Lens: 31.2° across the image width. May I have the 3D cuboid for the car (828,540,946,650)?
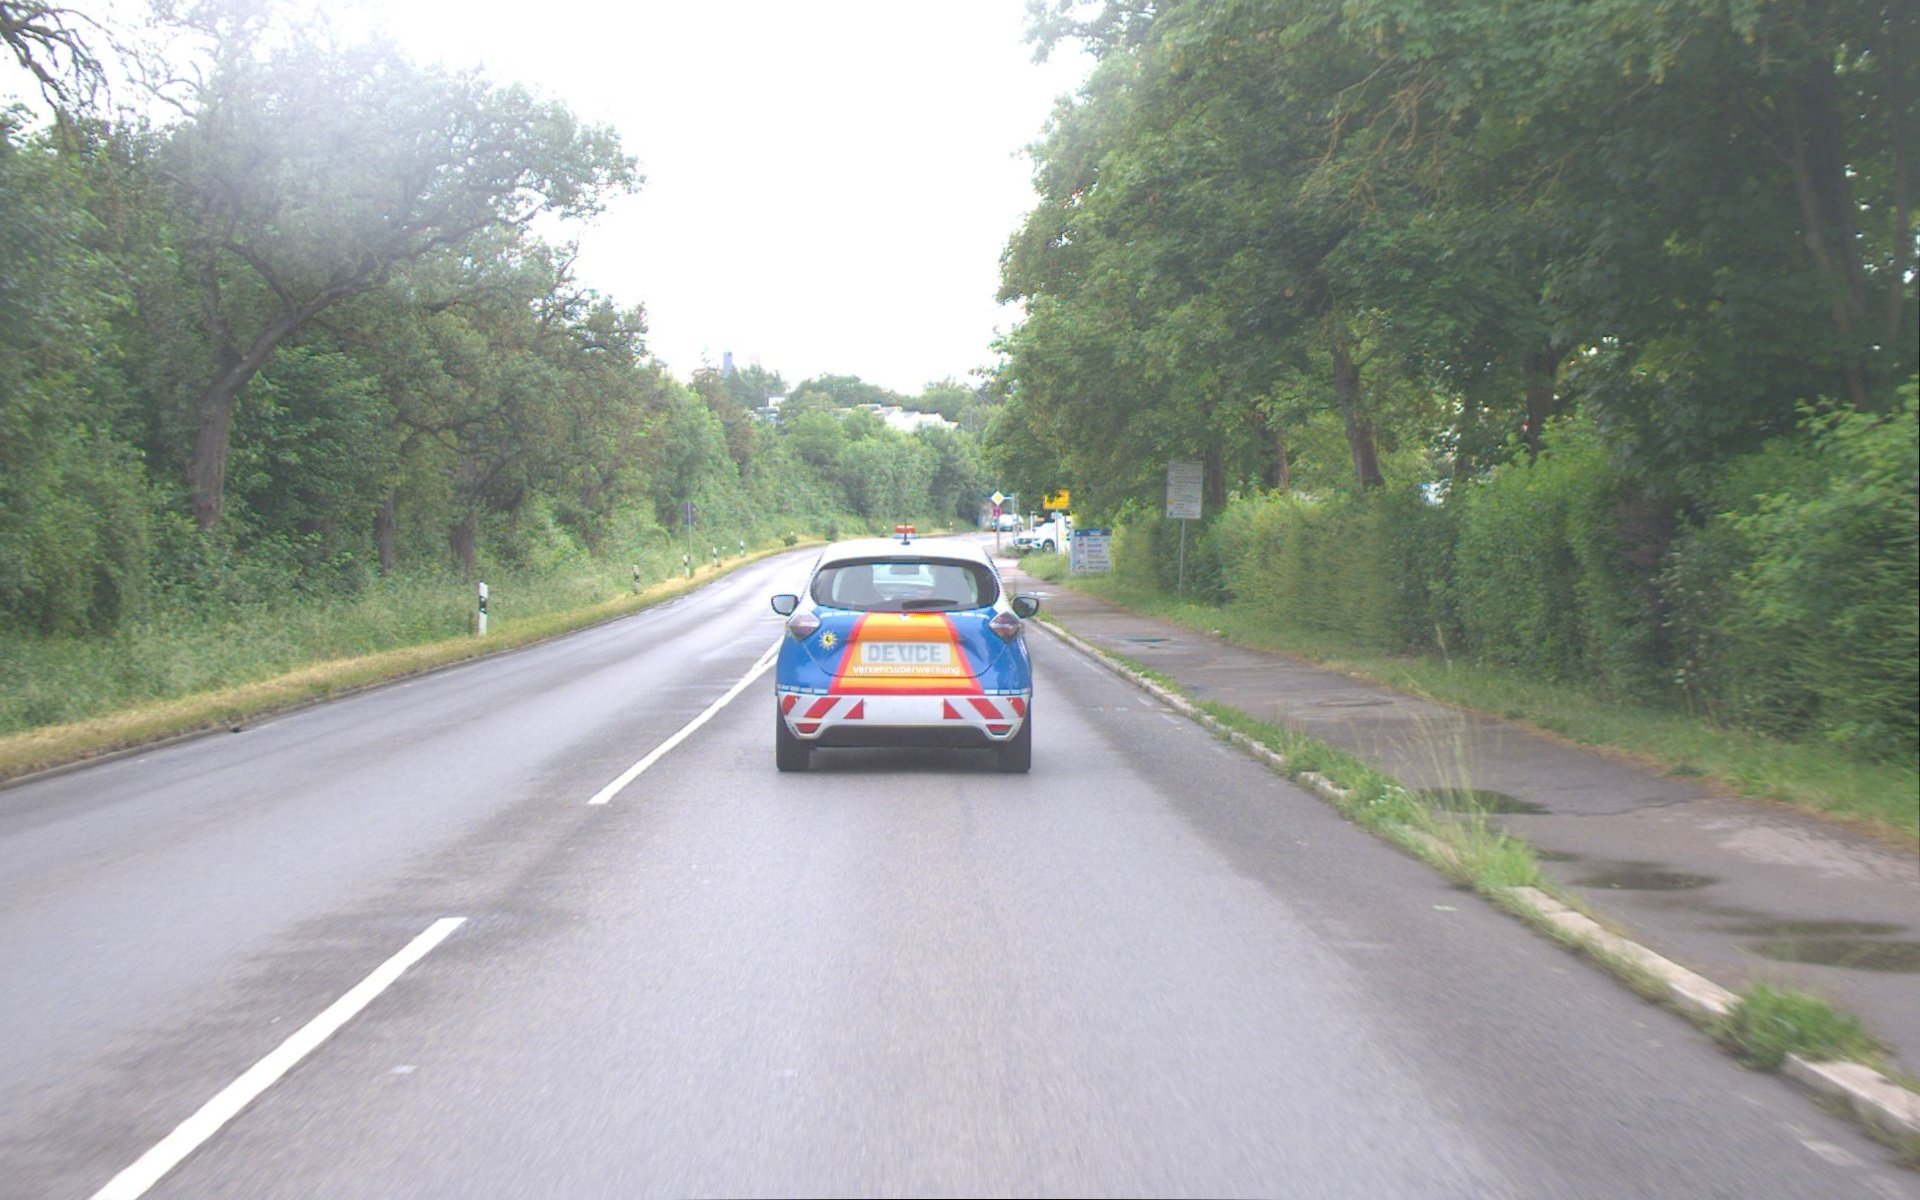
[{"bbox_3d":[-1.140,-0.103,52.496,1.694,1.590,3.856,1,1,-2],"label":"car"}]

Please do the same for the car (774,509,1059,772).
[{"bbox_3d":[-0.316,0.237,24.169,1.806,1.662,3.856,1,1,-1],"label":"car"}]
